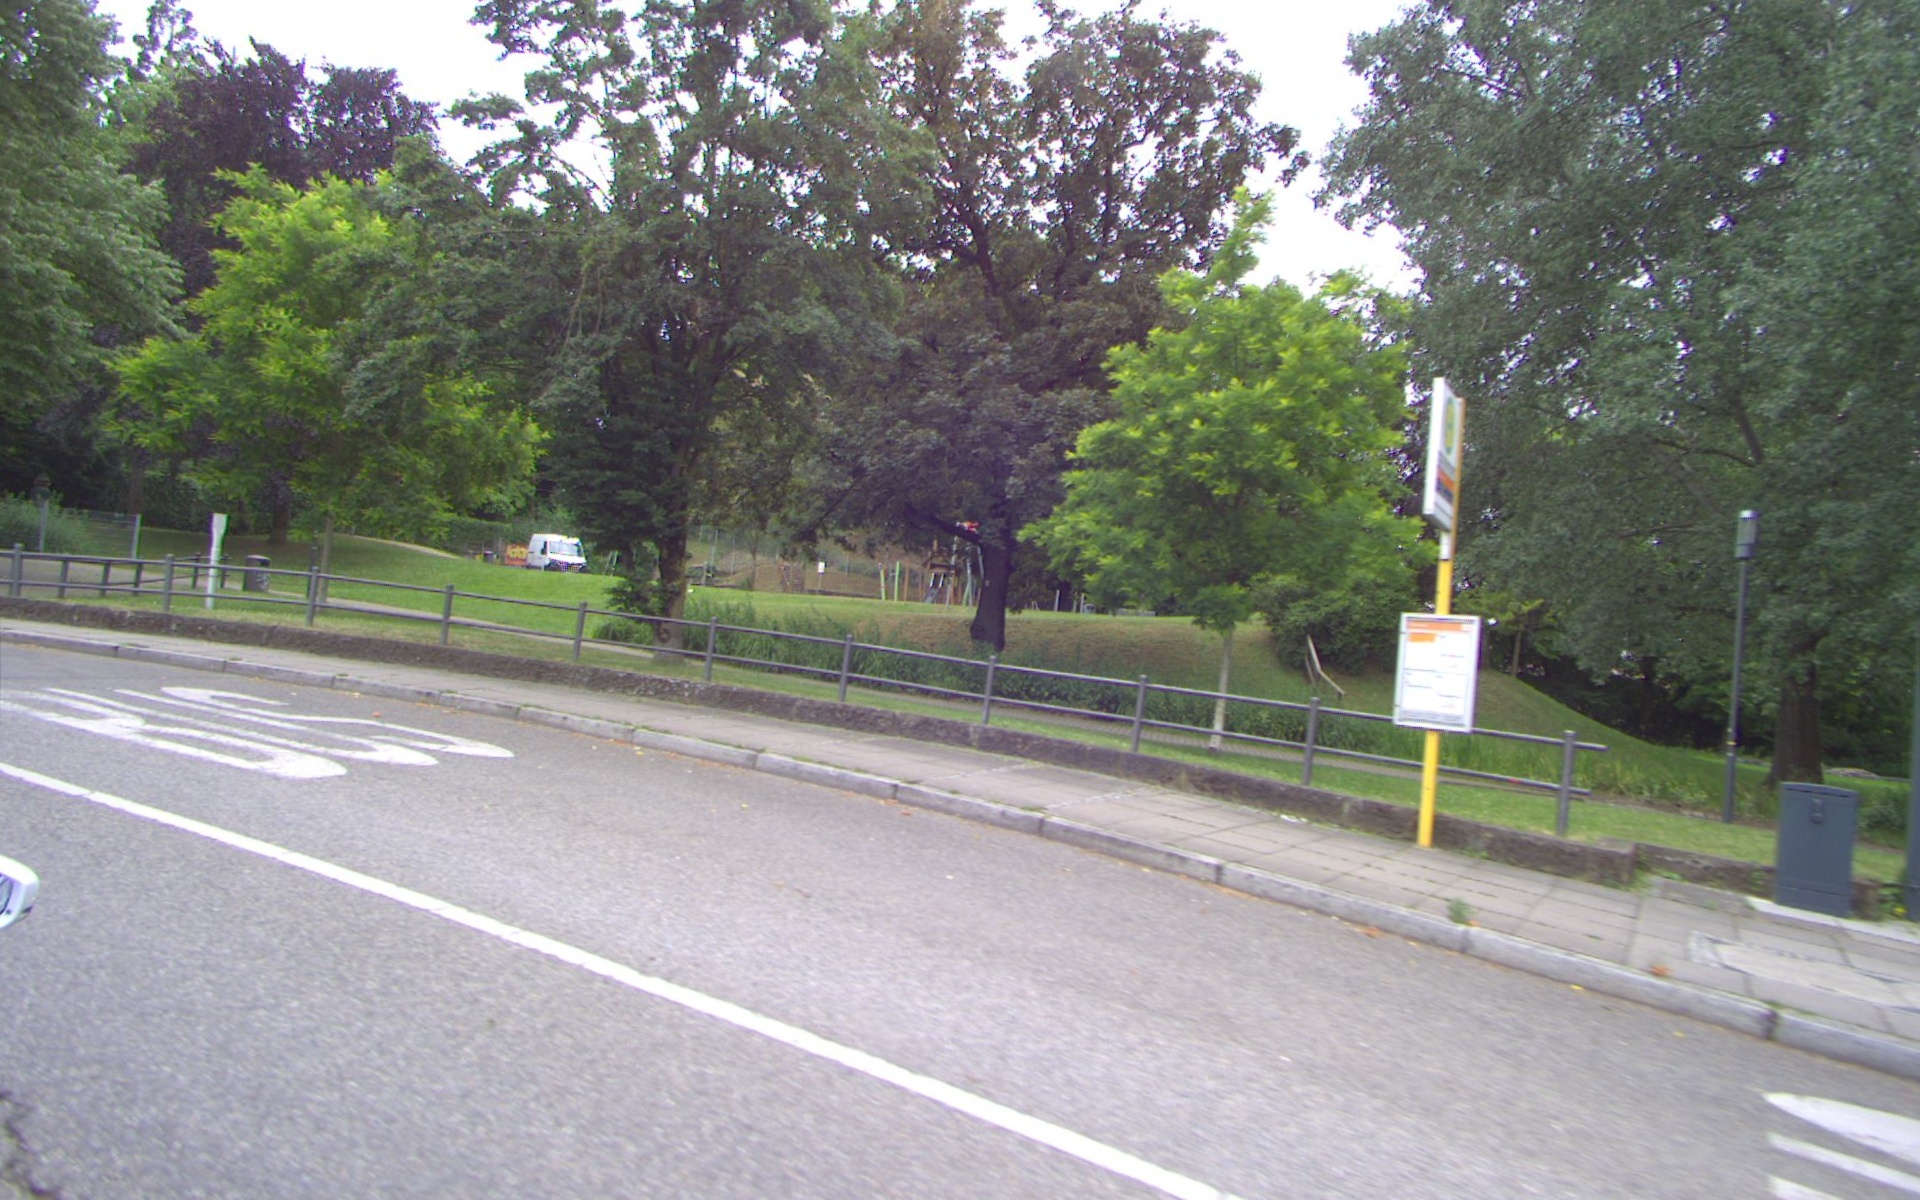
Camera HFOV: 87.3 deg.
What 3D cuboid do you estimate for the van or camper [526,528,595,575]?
[{"bbox_3d":[-21.510,-2.630,54.004,2.289,2.038,5.393,8,0,-32],"label":"van or camper"}]
